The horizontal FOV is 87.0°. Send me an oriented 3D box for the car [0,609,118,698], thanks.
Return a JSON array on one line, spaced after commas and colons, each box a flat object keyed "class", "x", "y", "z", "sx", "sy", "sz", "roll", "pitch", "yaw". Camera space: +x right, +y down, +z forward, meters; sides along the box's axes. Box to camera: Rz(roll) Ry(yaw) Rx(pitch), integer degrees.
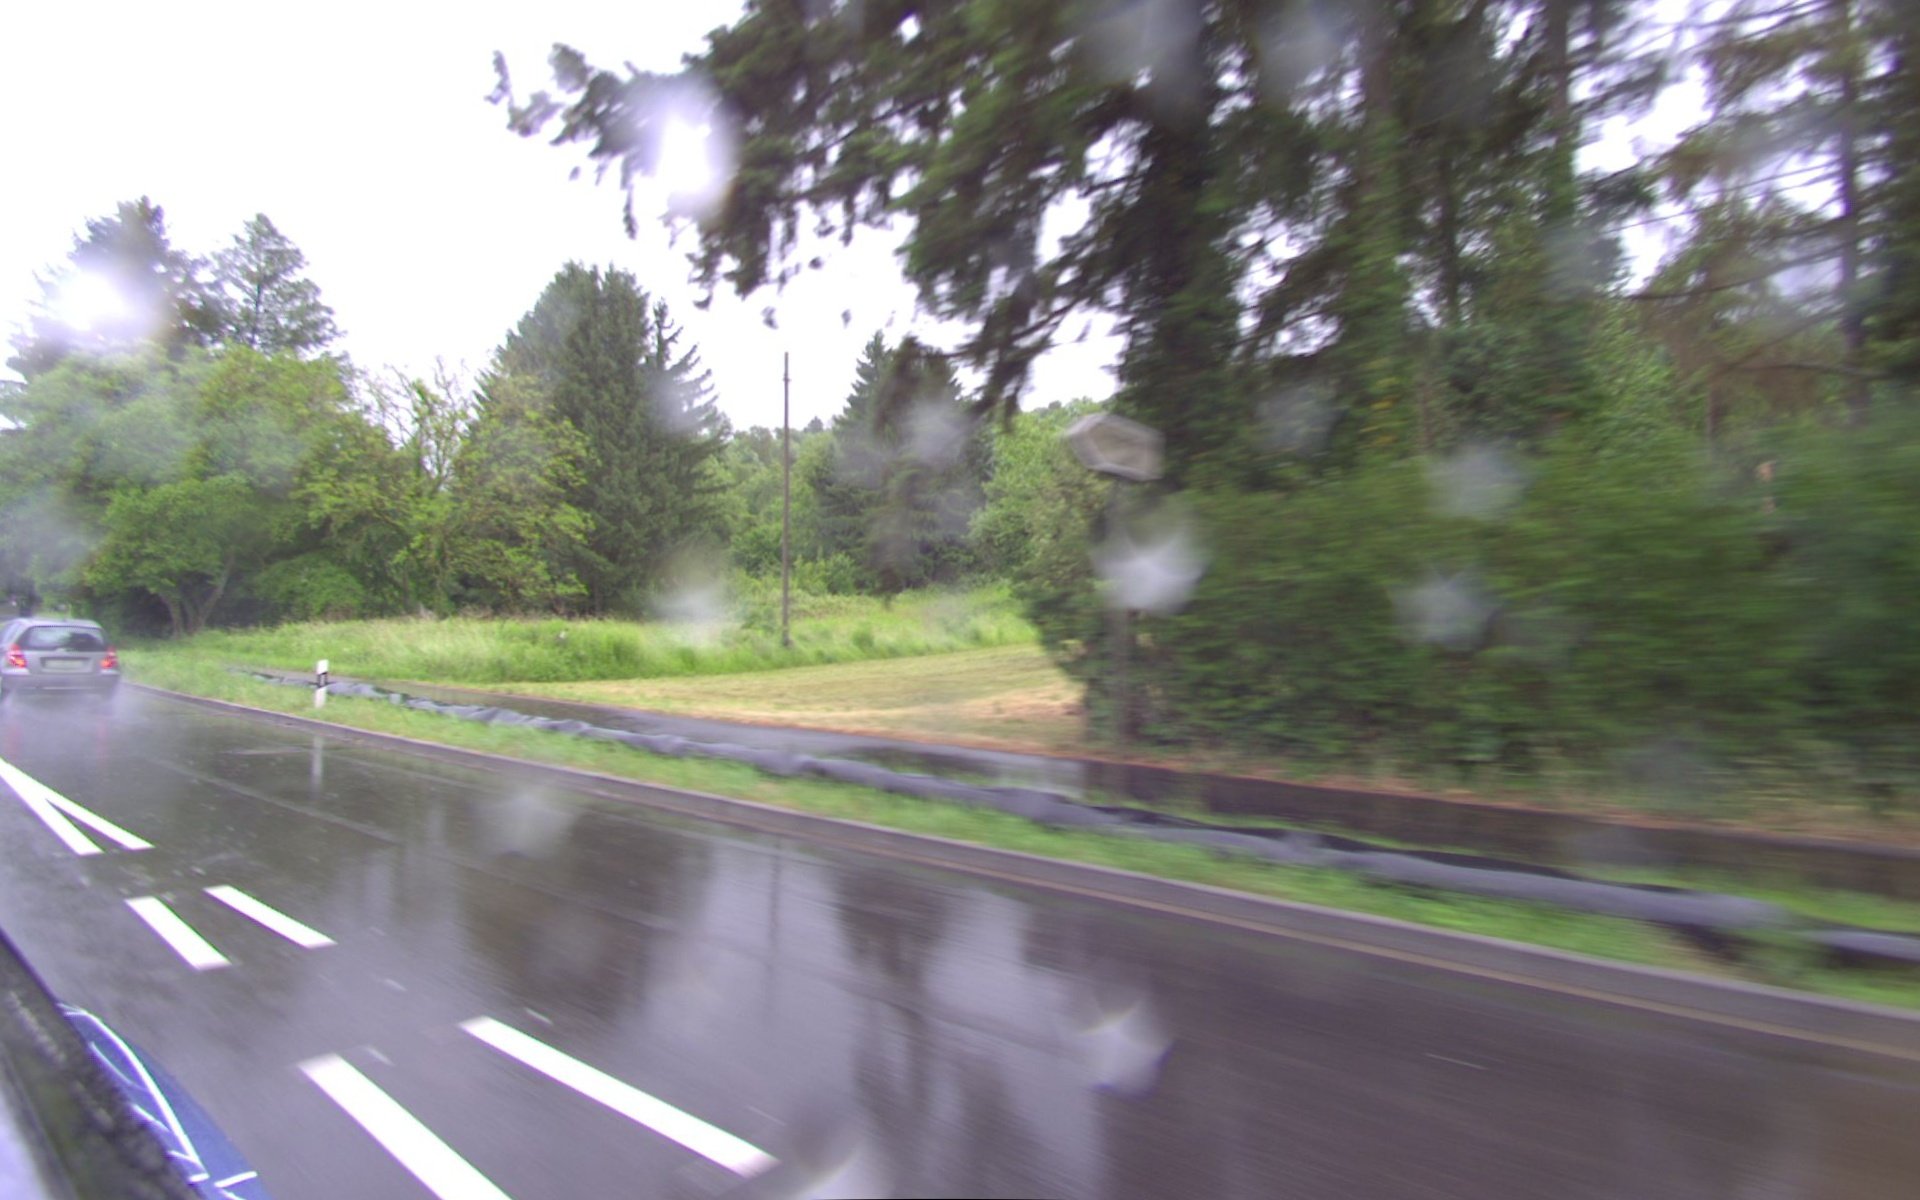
[{"class": "car", "x": -17.907, "y": 1.035, "z": 19.627, "sx": 3.997, "sy": 1.564, "sz": 1.742, "roll": -3, "pitch": -4, "yaw": 40}]
